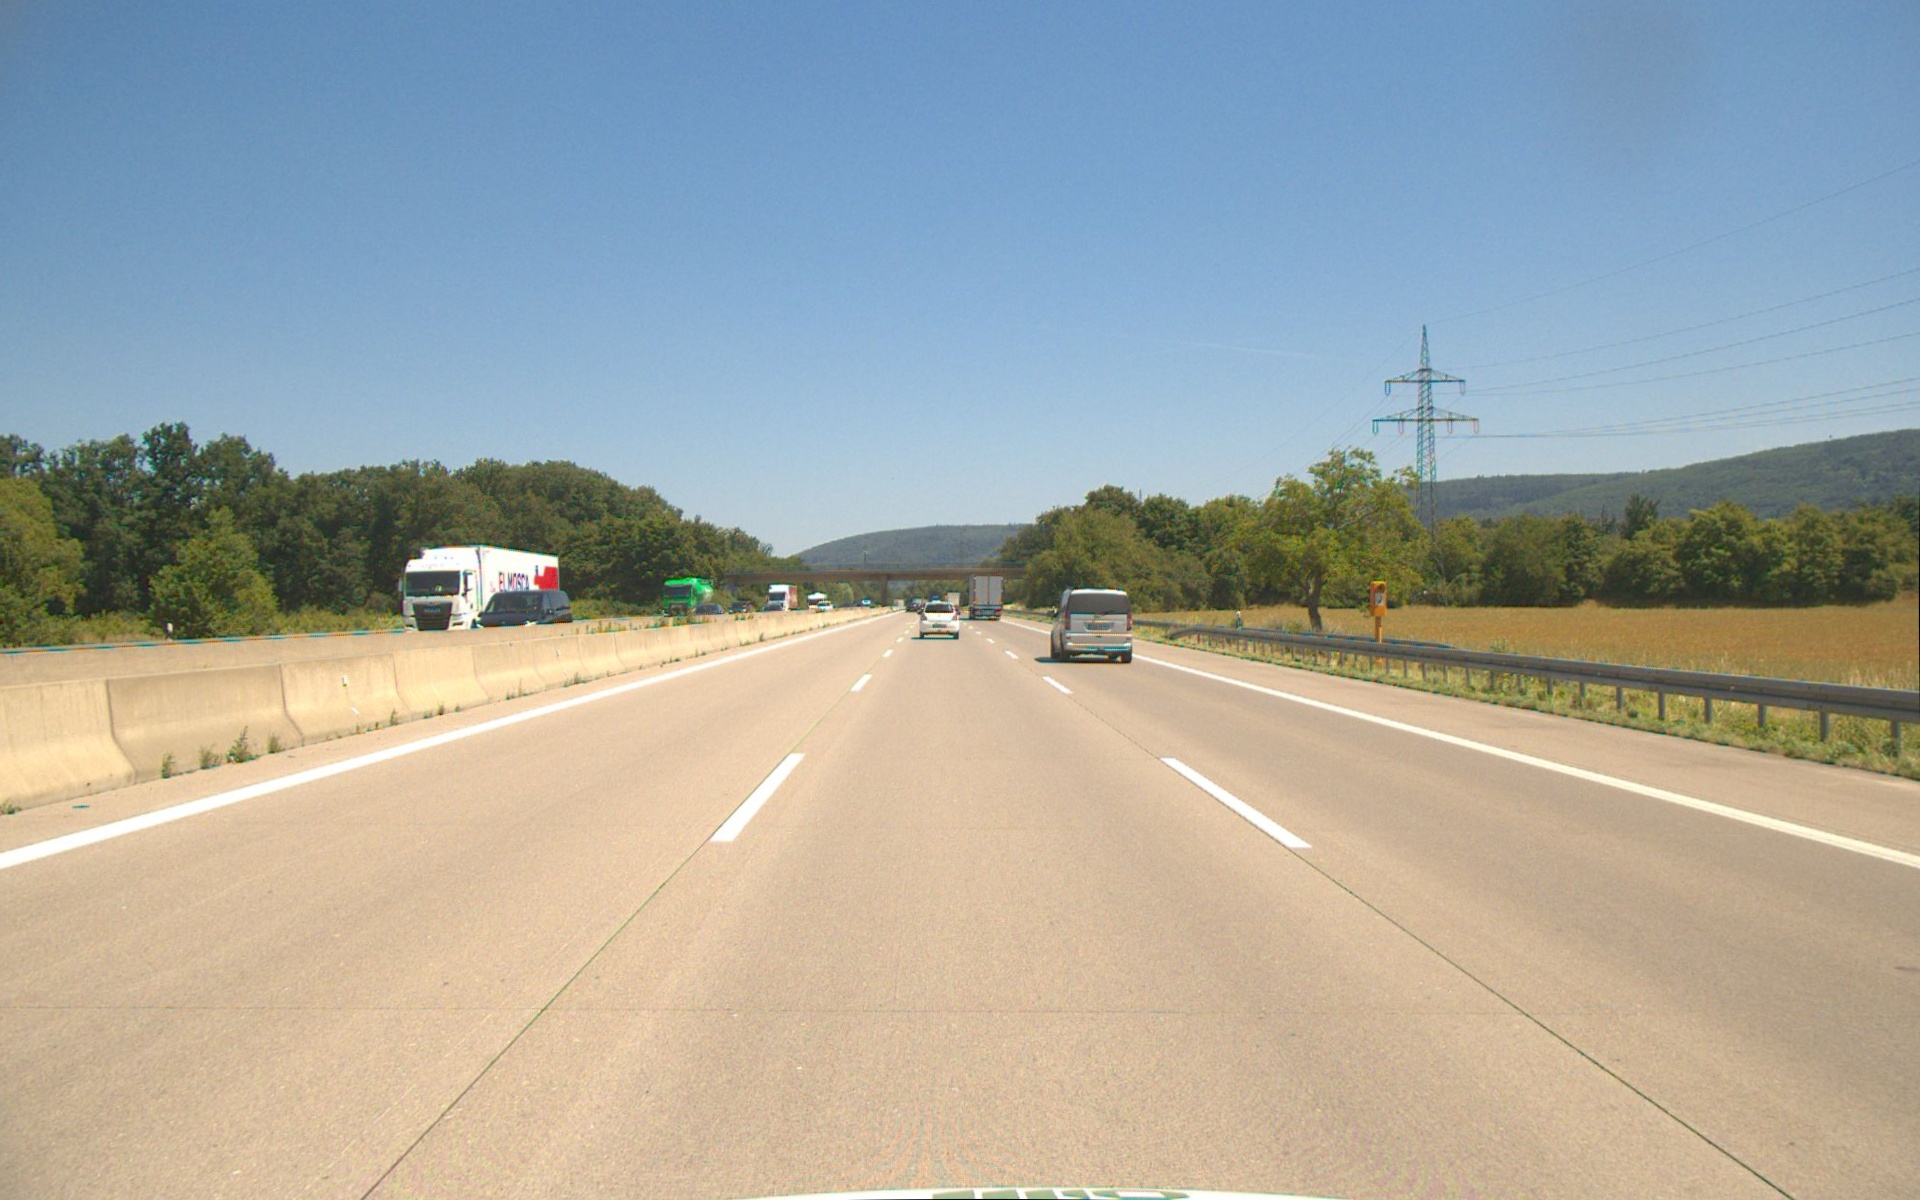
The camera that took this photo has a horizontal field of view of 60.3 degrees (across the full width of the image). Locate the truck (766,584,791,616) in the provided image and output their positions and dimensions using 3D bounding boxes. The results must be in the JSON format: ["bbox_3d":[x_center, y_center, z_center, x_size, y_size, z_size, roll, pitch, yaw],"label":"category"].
[{"bbox_3d":[-22.940,-0.025,209.754,2.505,3.916,6.789,1,0,-1],"label":"truck"}]

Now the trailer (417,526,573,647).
[{"bbox_3d":[-20.635,-0.581,74.617,3.019,4.845,14.371,1,0,-1],"label":"trailer"}]

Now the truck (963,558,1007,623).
[{"bbox_3d":[2.298,-0.867,156.386,3.646,5.913,7.050,1,0,-2],"label":"truck"}]

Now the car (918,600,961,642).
[{"bbox_3d":[-0.890,0.847,69.905,1.782,1.691,3.999,0,0,-1],"label":"car"}]

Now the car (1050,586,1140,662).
[{"bbox_3d":[3.553,0.602,44.091,1.953,1.881,3.999,1,0,-1],"label":"car"}]

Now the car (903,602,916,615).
[{"bbox_3d":[-7.547,1.257,246.744,1.890,1.825,3.999,1,0,-2],"label":"car"}]

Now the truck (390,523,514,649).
[{"bbox_3d":[-20.573,-0.550,67.381,3.019,4.845,6.497,1,0,-1],"label":"truck"}]

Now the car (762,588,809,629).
[{"bbox_3d":[-8.536,0.380,81.248,1.954,1.881,3.998,3,0,-2],"label":"car"}]

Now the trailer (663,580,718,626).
[{"bbox_3d":[-22.861,0.232,140.717,2.988,3.698,11.665,1,0,-1],"label":"trailer"}]

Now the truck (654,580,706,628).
[{"bbox_3d":[-22.713,0.291,134.421,2.988,3.698,7.975,1,0,-1],"label":"truck"}]

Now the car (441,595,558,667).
[{"bbox_3d":[-12.539,0.808,45.343,1.953,1.826,4.466,1,0,0],"label":"car"}]

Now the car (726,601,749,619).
[{"bbox_3d":[-22.969,1.003,170.917,1.890,1.825,3.999,1,0,-1],"label":"car"}]

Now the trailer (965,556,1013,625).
[{"bbox_3d":[2.546,-0.837,150.222,3.646,5.913,12.156,1,0,-2],"label":"trailer"}]
